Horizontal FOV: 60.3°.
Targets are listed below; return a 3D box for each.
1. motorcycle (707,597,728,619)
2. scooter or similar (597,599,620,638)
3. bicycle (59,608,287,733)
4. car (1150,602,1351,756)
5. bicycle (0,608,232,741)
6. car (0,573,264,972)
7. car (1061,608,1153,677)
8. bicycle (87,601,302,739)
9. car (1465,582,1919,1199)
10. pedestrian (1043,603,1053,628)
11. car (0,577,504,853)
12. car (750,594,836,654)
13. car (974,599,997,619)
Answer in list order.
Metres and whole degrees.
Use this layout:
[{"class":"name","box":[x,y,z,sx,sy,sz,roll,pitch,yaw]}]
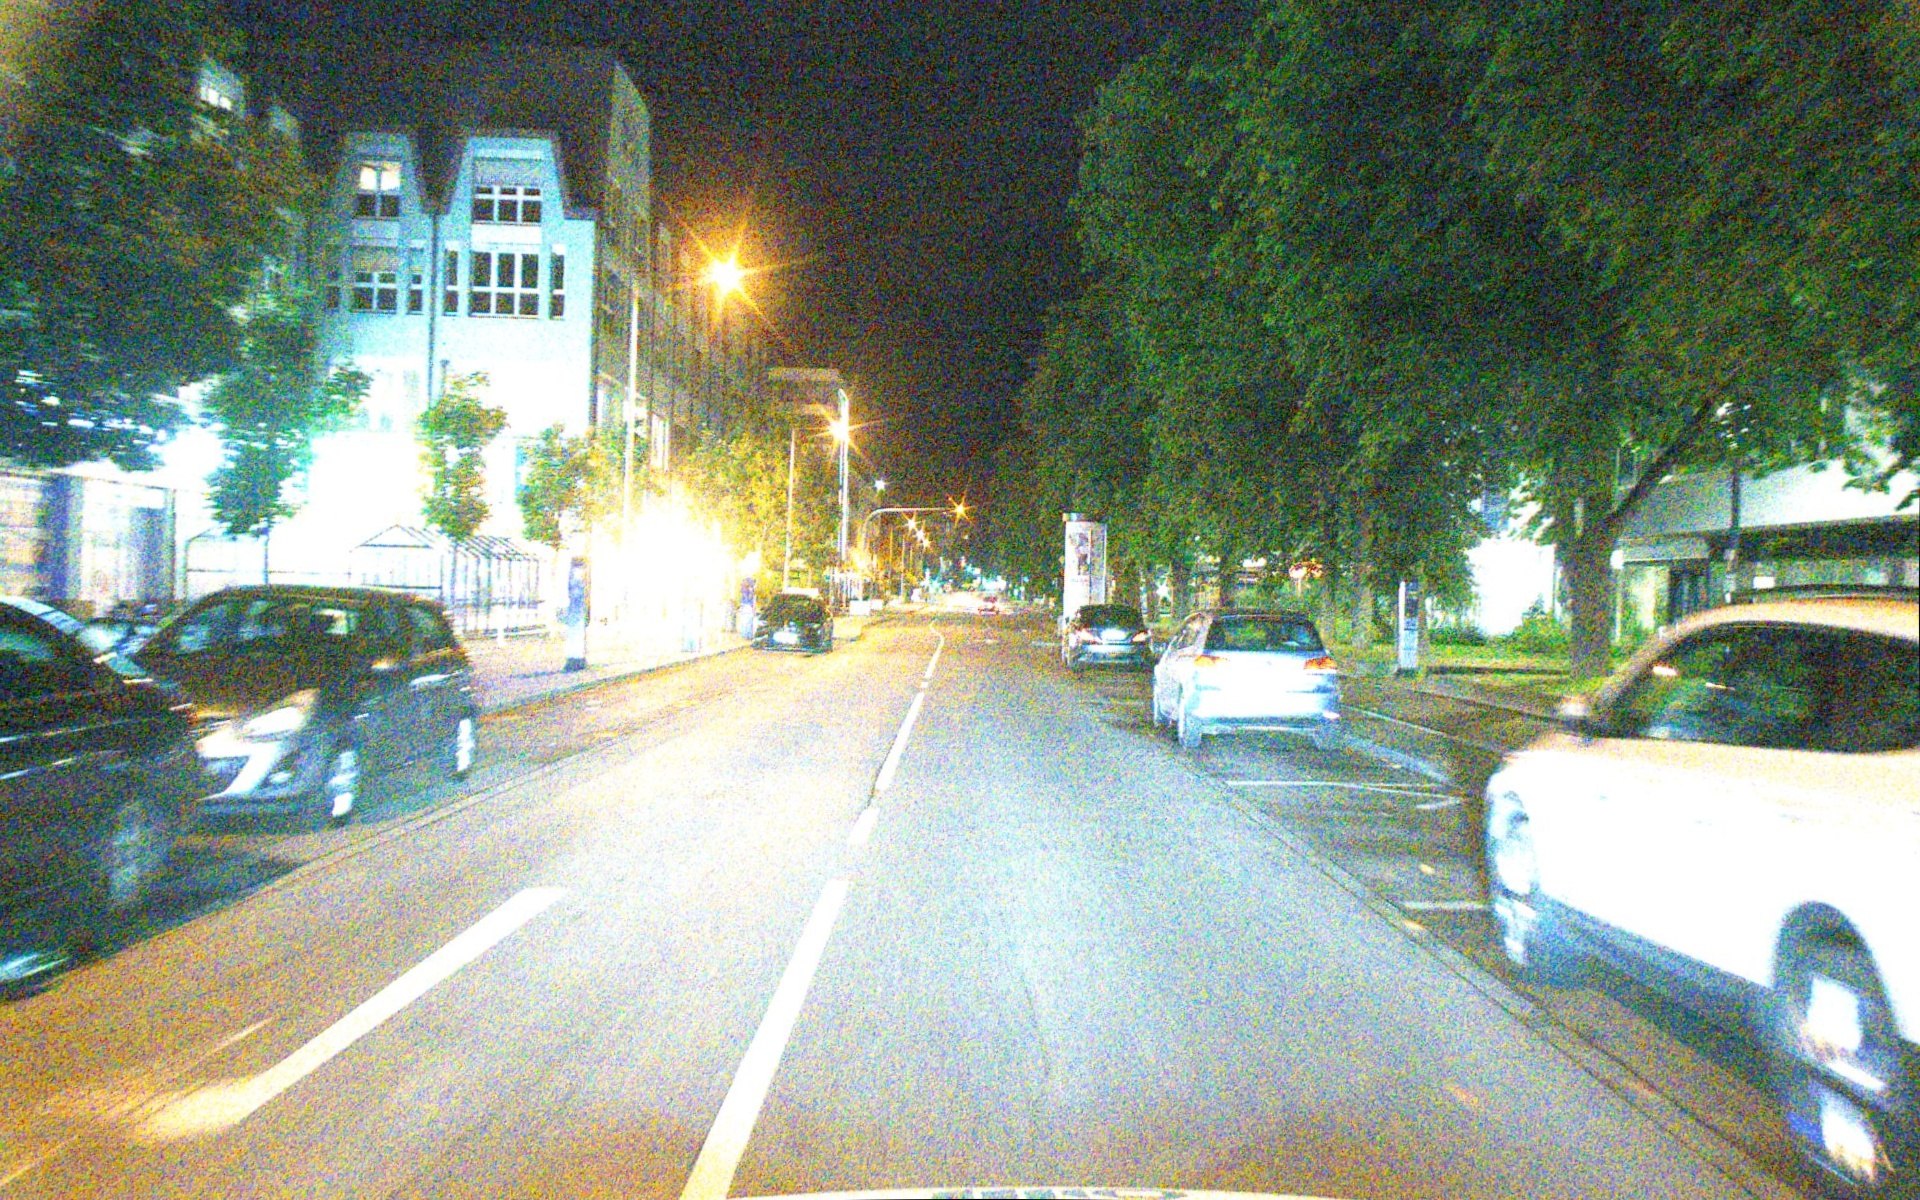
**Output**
[{"class":"motorcycle","box":[-11.720,0.399,79.974,0.468,1.038,1.676,2,0,10]},{"class":"scooter or similar","box":[-11.615,0.603,54.682,0.379,1.242,1.344,1,0,3]},{"class":"bicycle","box":[-7.349,0.651,15.480,1.813,1.053,0.532,3,0,0]},{"class":"car","box":[3.245,0.820,19.142,1.655,1.563,4.016,1,0,1]},{"class":"bicycle","box":[-7.386,0.637,14.375,1.813,1.017,0.532,3,0,0]},{"class":"car","box":[-4.444,0.617,5.855,1.770,1.450,4.921,3,0,0]},{"class":"car","box":[3.282,0.919,37.727,1.728,1.439,4.808,1,0,1]},{"class":"bicycle","box":[-7.459,0.673,16.146,1.813,1.275,0.532,1,0,0]},{"class":"car","box":[3.162,0.734,5.470,1.733,1.564,4.216,0,0,1]},{"class":"pedestrian","box":[6.566,1.181,123.327,0.688,1.850,1.082,1,0,1]},{"class":"car","box":[-4.568,0.650,11.313,1.687,1.453,3.976,3,0,0]},{"class":"car","box":[-4.344,0.592,43.588,1.705,1.438,4.496,2,0,1]},{"class":"car","box":[2.271,0.792,146.756,1.953,1.672,4.000,1,0,0]}]
